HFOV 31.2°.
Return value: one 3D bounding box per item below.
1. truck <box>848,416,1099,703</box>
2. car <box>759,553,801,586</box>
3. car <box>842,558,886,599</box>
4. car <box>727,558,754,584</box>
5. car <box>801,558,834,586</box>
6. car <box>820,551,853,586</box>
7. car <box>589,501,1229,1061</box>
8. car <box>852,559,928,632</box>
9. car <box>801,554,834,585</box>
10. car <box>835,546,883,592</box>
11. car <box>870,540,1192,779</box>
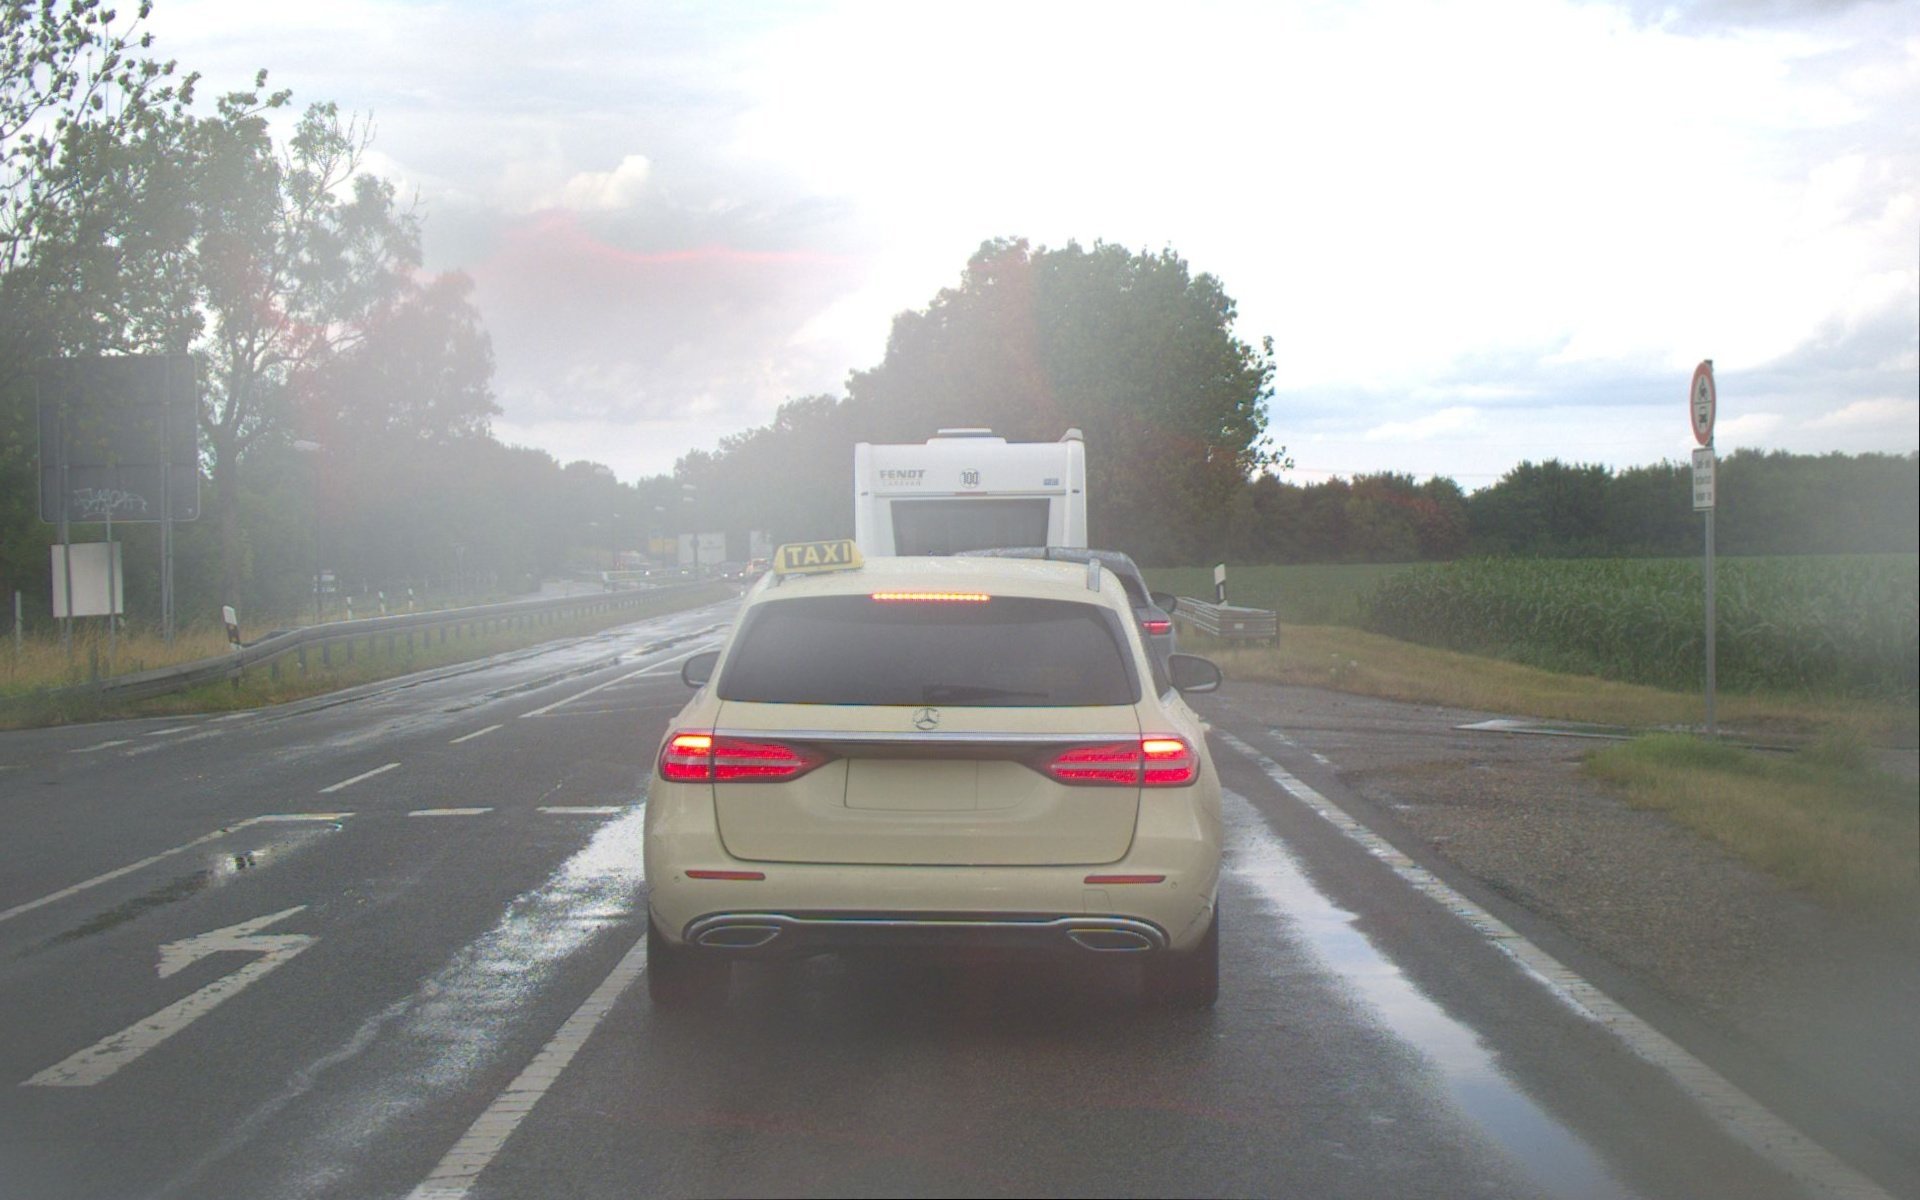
[{"bbox_3d":[0.091,-0.444,36.765,2.363,2.719,7.314,-1,1,-1],"label":"truck"},{"bbox_3d":[-8.772,-1.485,168.039,1.828,1.568,4.000,1,0,0],"label":"car"},{"bbox_3d":[-4.254,-0.971,153.249,1.879,1.755,3.834,-1,1,-1],"label":"car"},{"bbox_3d":[-14.295,-1.886,223.635,1.580,1.634,3.442,-1,1,-1],"label":"car"},{"bbox_3d":[-8.456,-1.667,203.897,1.748,1.656,3.673,-1,1,-5],"label":"car"},{"bbox_3d":[-6.817,-1.760,189.858,1.740,1.853,3.785,-1,1,-1],"label":"car"},{"bbox_3d":[-0.170,0.503,11.969,1.842,1.612,4.000,0,1,-1],"label":"car"},{"bbox_3d":[-1.828,-0.143,90.702,1.915,1.834,3.796,-1,1,0],"label":"car"},{"bbox_3d":[-8.848,-1.874,213.148,1.895,1.888,3.844,-1,1,-4],"label":"car"},{"bbox_3d":[-3.973,-1.220,135.441,1.791,1.771,3.721,-1,1,-1],"label":"car"},{"bbox_3d":[0.423,0.357,23.539,1.993,1.457,4.000,1,0,-1],"label":"car"}]
